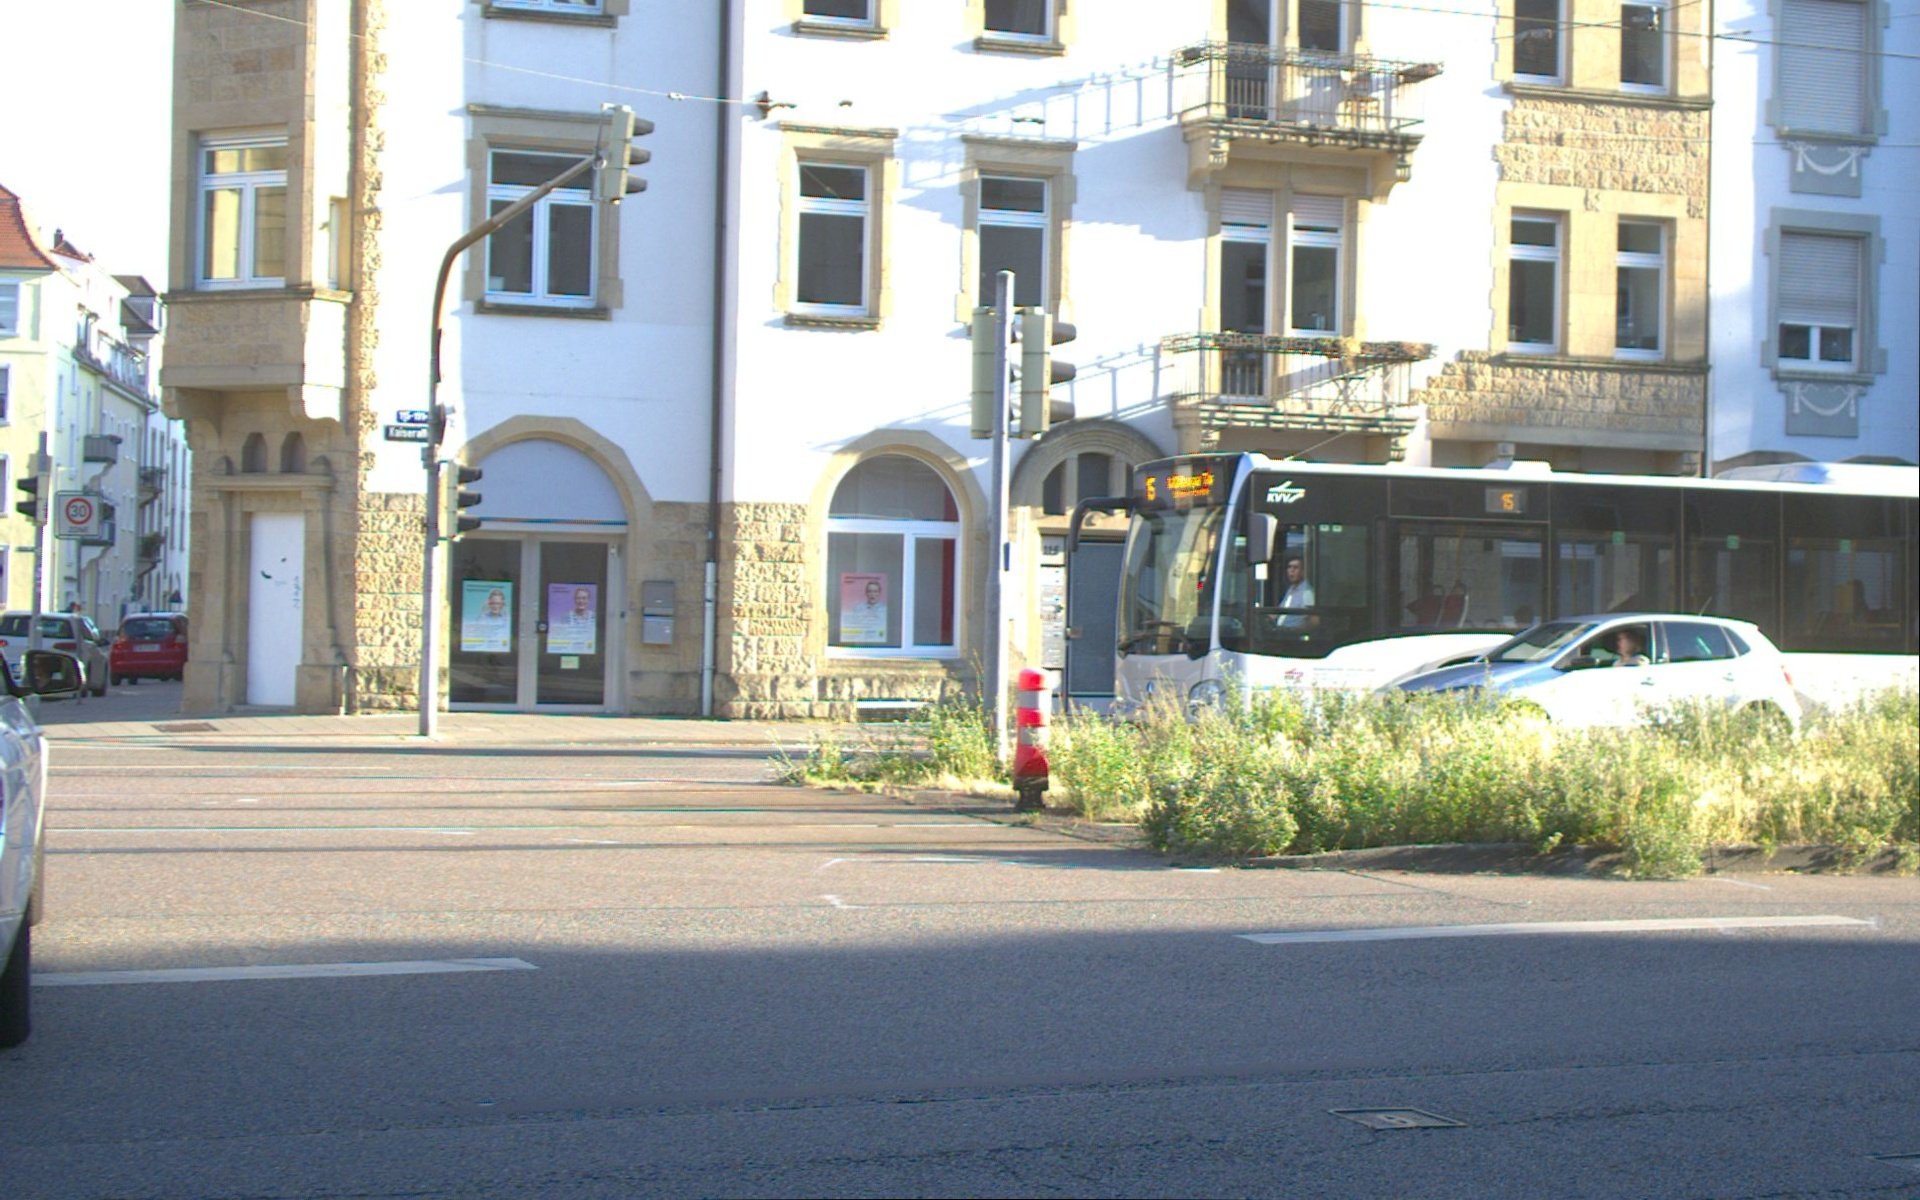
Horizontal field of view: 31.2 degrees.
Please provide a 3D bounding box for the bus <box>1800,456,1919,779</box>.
[{"bbox_3d":[15.409,0.395,38.245,11.934,3.363,3.266,2,-1,-21],"label":"bus"}]

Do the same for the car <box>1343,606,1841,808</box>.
[{"bbox_3d":[5.761,0.971,31.456,3.985,1.678,1.937,2,-1,-18],"label":"car"}]

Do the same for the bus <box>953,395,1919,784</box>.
[{"bbox_3d":[5.173,-0.004,34.333,9.863,3.363,3.277,2,-1,-21],"label":"bus"}]

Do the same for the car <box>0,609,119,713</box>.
[{"bbox_3d":[-15.103,0.980,57.000,1.829,1.610,4.001,2,-1,-8],"label":"car"}]

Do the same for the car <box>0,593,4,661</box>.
[{"bbox_3d":[-25.197,0.659,86.629,1.829,1.740,4.001,2,-1,-12],"label":"car"}]

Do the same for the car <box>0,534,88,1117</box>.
[{"bbox_3d":[-3.708,0.517,10.703,1.731,1.472,4.174,2,1,-12],"label":"car"}]

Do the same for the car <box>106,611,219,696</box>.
[{"bbox_3d":[-16.915,1.124,73.060,1.829,1.700,4.001,2,-1,-6],"label":"car"}]
